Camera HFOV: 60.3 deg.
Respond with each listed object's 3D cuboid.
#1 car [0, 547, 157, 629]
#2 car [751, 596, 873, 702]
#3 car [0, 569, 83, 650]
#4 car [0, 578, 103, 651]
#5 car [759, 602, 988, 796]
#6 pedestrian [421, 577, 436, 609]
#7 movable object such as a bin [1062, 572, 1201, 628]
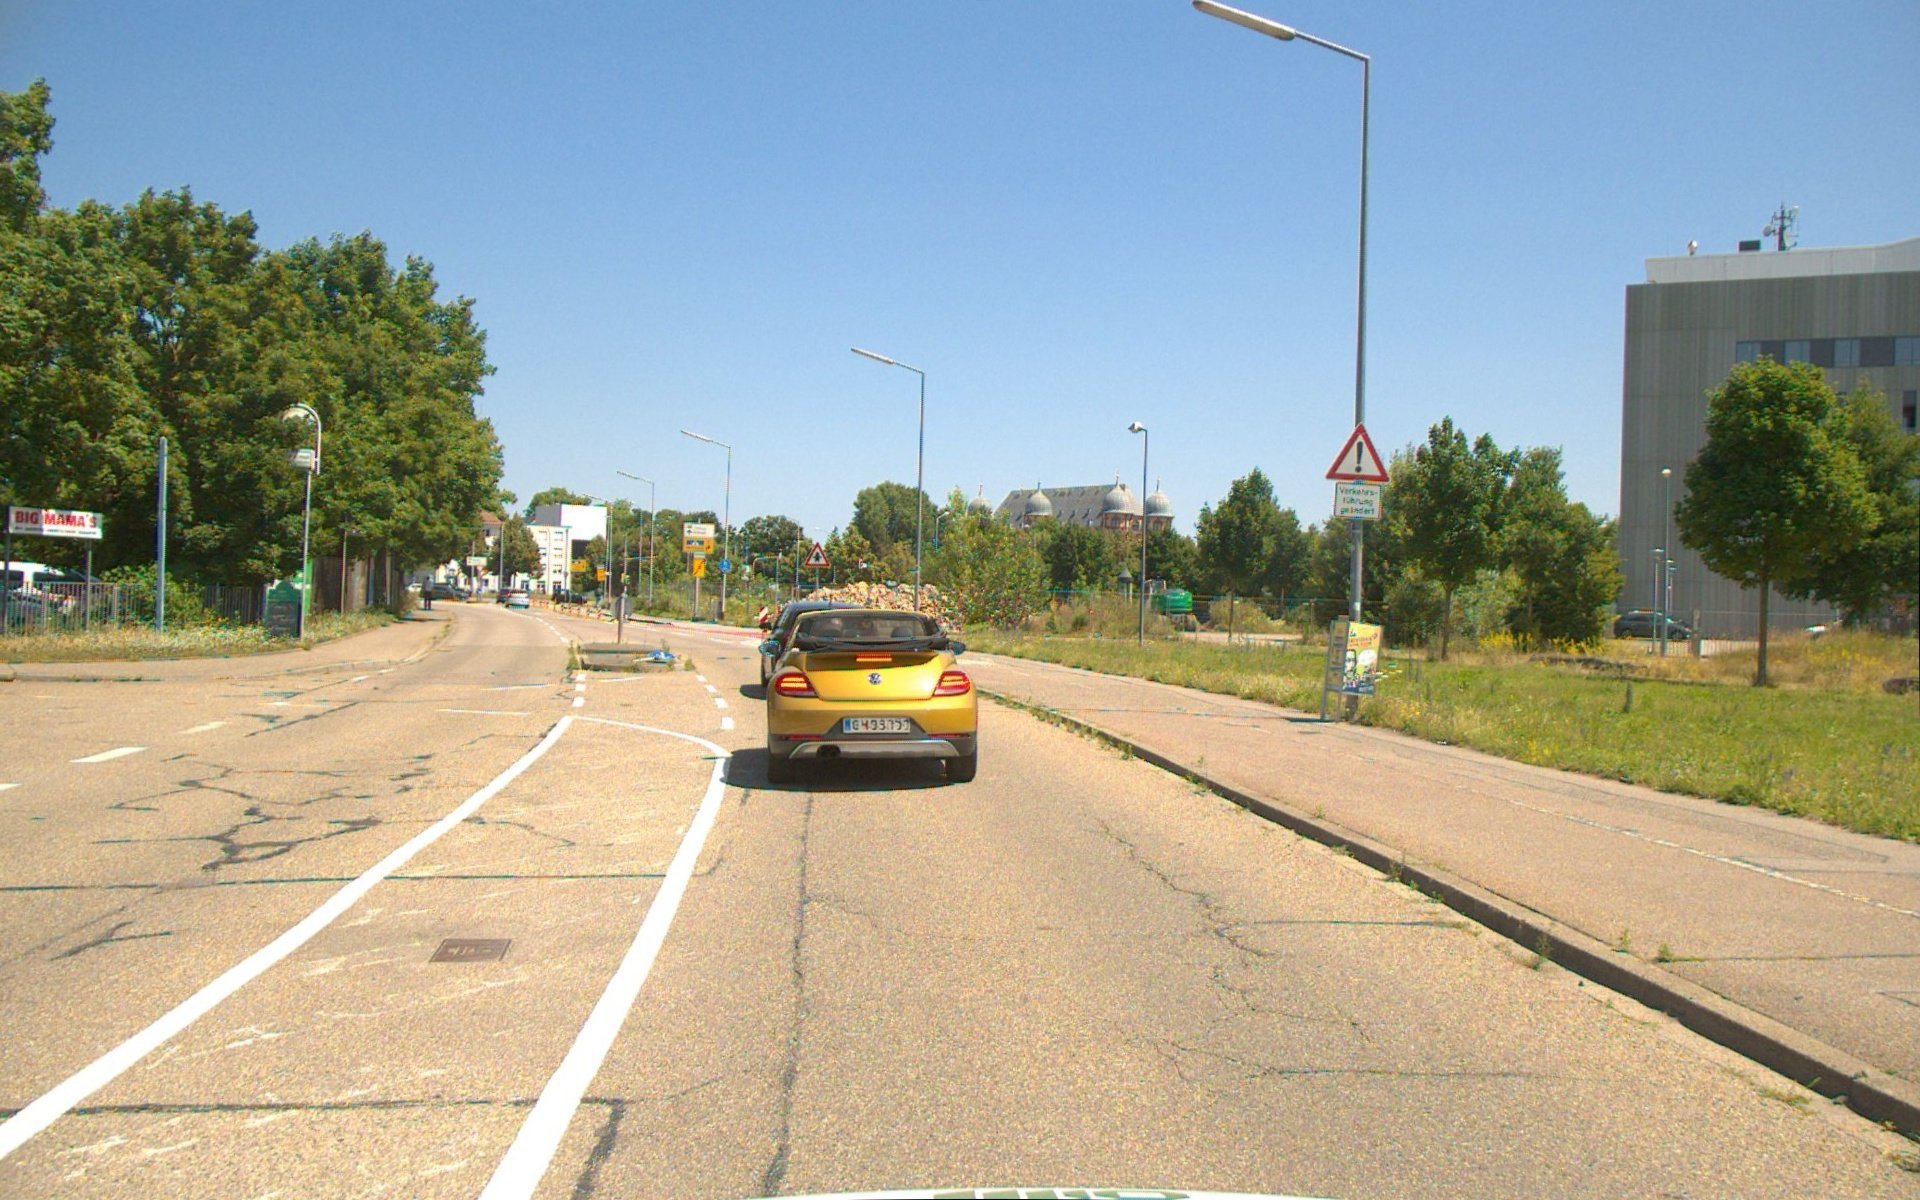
[{"bbox_3d":[-23.265,-0.316,42.679,4.231,2.011,1.777,1,0,-13],"label":"car"},{"bbox_3d":[-2.301,0.706,25.562,1.693,1.468,3.995,1,0,-6],"label":"car"},{"bbox_3d":[-23.626,0.186,39.033,4.734,1.872,1.996,1,0,-10],"label":"car"},{"bbox_3d":[-21.209,0.296,36.401,3.798,1.552,1.803,1,0,-15],"label":"car"},{"bbox_3d":[-0.718,0.776,14.840,1.754,1.462,3.812,1,0,-1],"label":"car"},{"bbox_3d":[-29.781,-0.380,92.755,0.712,1.755,0.813,2,-1,-22],"label":"pedestrian"},{"bbox_3d":[10.789,0.003,105.461,4.865,3.317,10.411,2,0,-19],"label":"movable object such as a bin"}]
